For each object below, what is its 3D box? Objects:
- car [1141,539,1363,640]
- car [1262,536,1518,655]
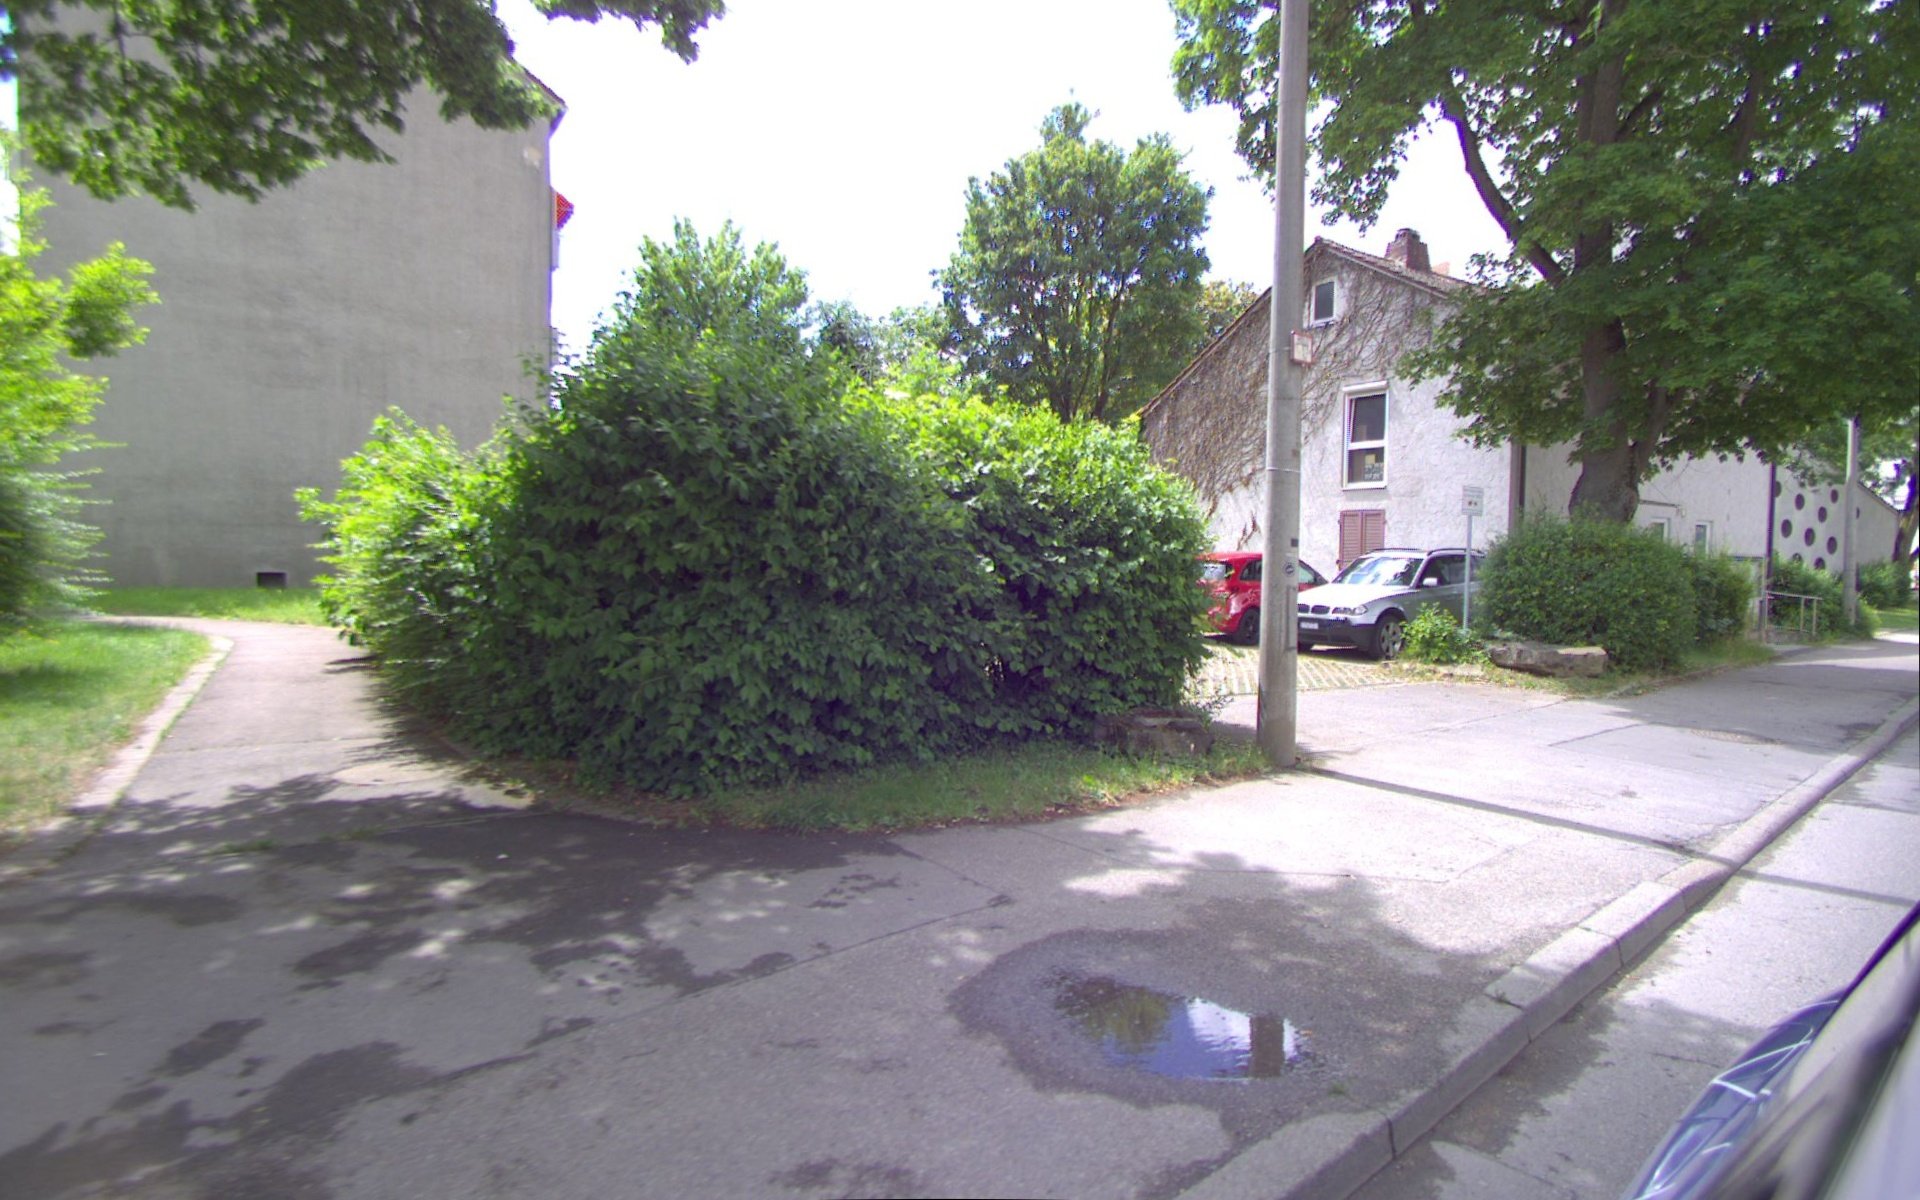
[{"bbox_3d":[5.315,-0.246,18.256,3.926,1.602,1.818,-1,4,-37],"label":"car"},{"bbox_3d":[6.918,-0.138,16.200,3.922,1.669,1.820,-1,4,-32],"label":"car"}]
